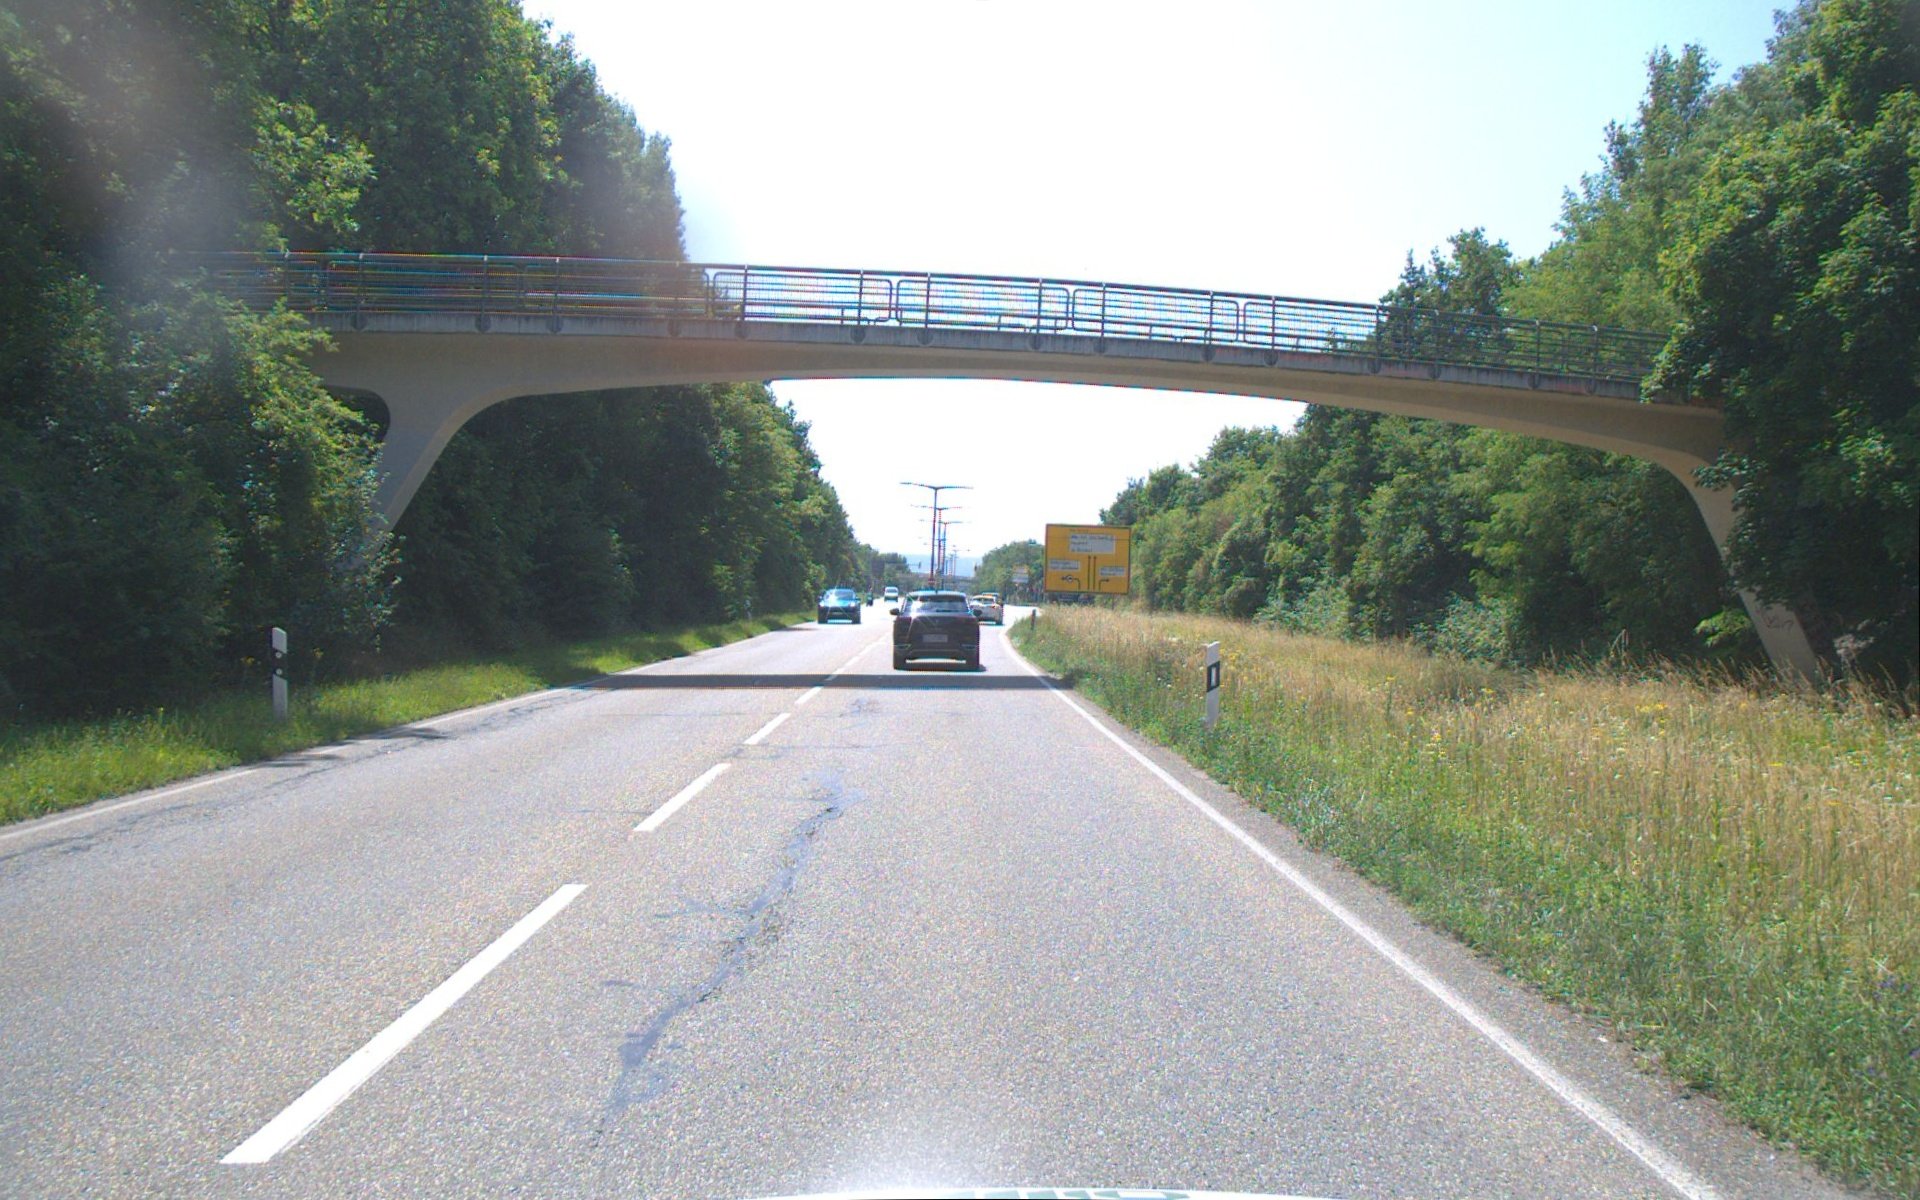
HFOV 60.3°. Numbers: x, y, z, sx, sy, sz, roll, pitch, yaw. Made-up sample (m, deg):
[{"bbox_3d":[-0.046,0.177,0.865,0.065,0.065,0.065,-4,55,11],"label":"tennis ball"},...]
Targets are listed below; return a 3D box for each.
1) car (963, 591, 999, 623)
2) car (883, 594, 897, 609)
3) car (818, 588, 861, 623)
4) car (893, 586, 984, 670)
[{"bbox_3d":[1.080,0.346,85.128,1.760,1.611,4.000,0,0,1],"label":"car"},{"bbox_3d":[-8.389,0.191,198.420,1.696,1.717,4.094,0,1,-1],"label":"car"},{"bbox_3d":[-5.763,0.252,79.696,1.786,1.617,4.419,0,0,-1],"label":"car"},{"bbox_3d":[-0.436,0.546,34.158,1.719,1.583,3.999,2,0,-1],"label":"car"}]
